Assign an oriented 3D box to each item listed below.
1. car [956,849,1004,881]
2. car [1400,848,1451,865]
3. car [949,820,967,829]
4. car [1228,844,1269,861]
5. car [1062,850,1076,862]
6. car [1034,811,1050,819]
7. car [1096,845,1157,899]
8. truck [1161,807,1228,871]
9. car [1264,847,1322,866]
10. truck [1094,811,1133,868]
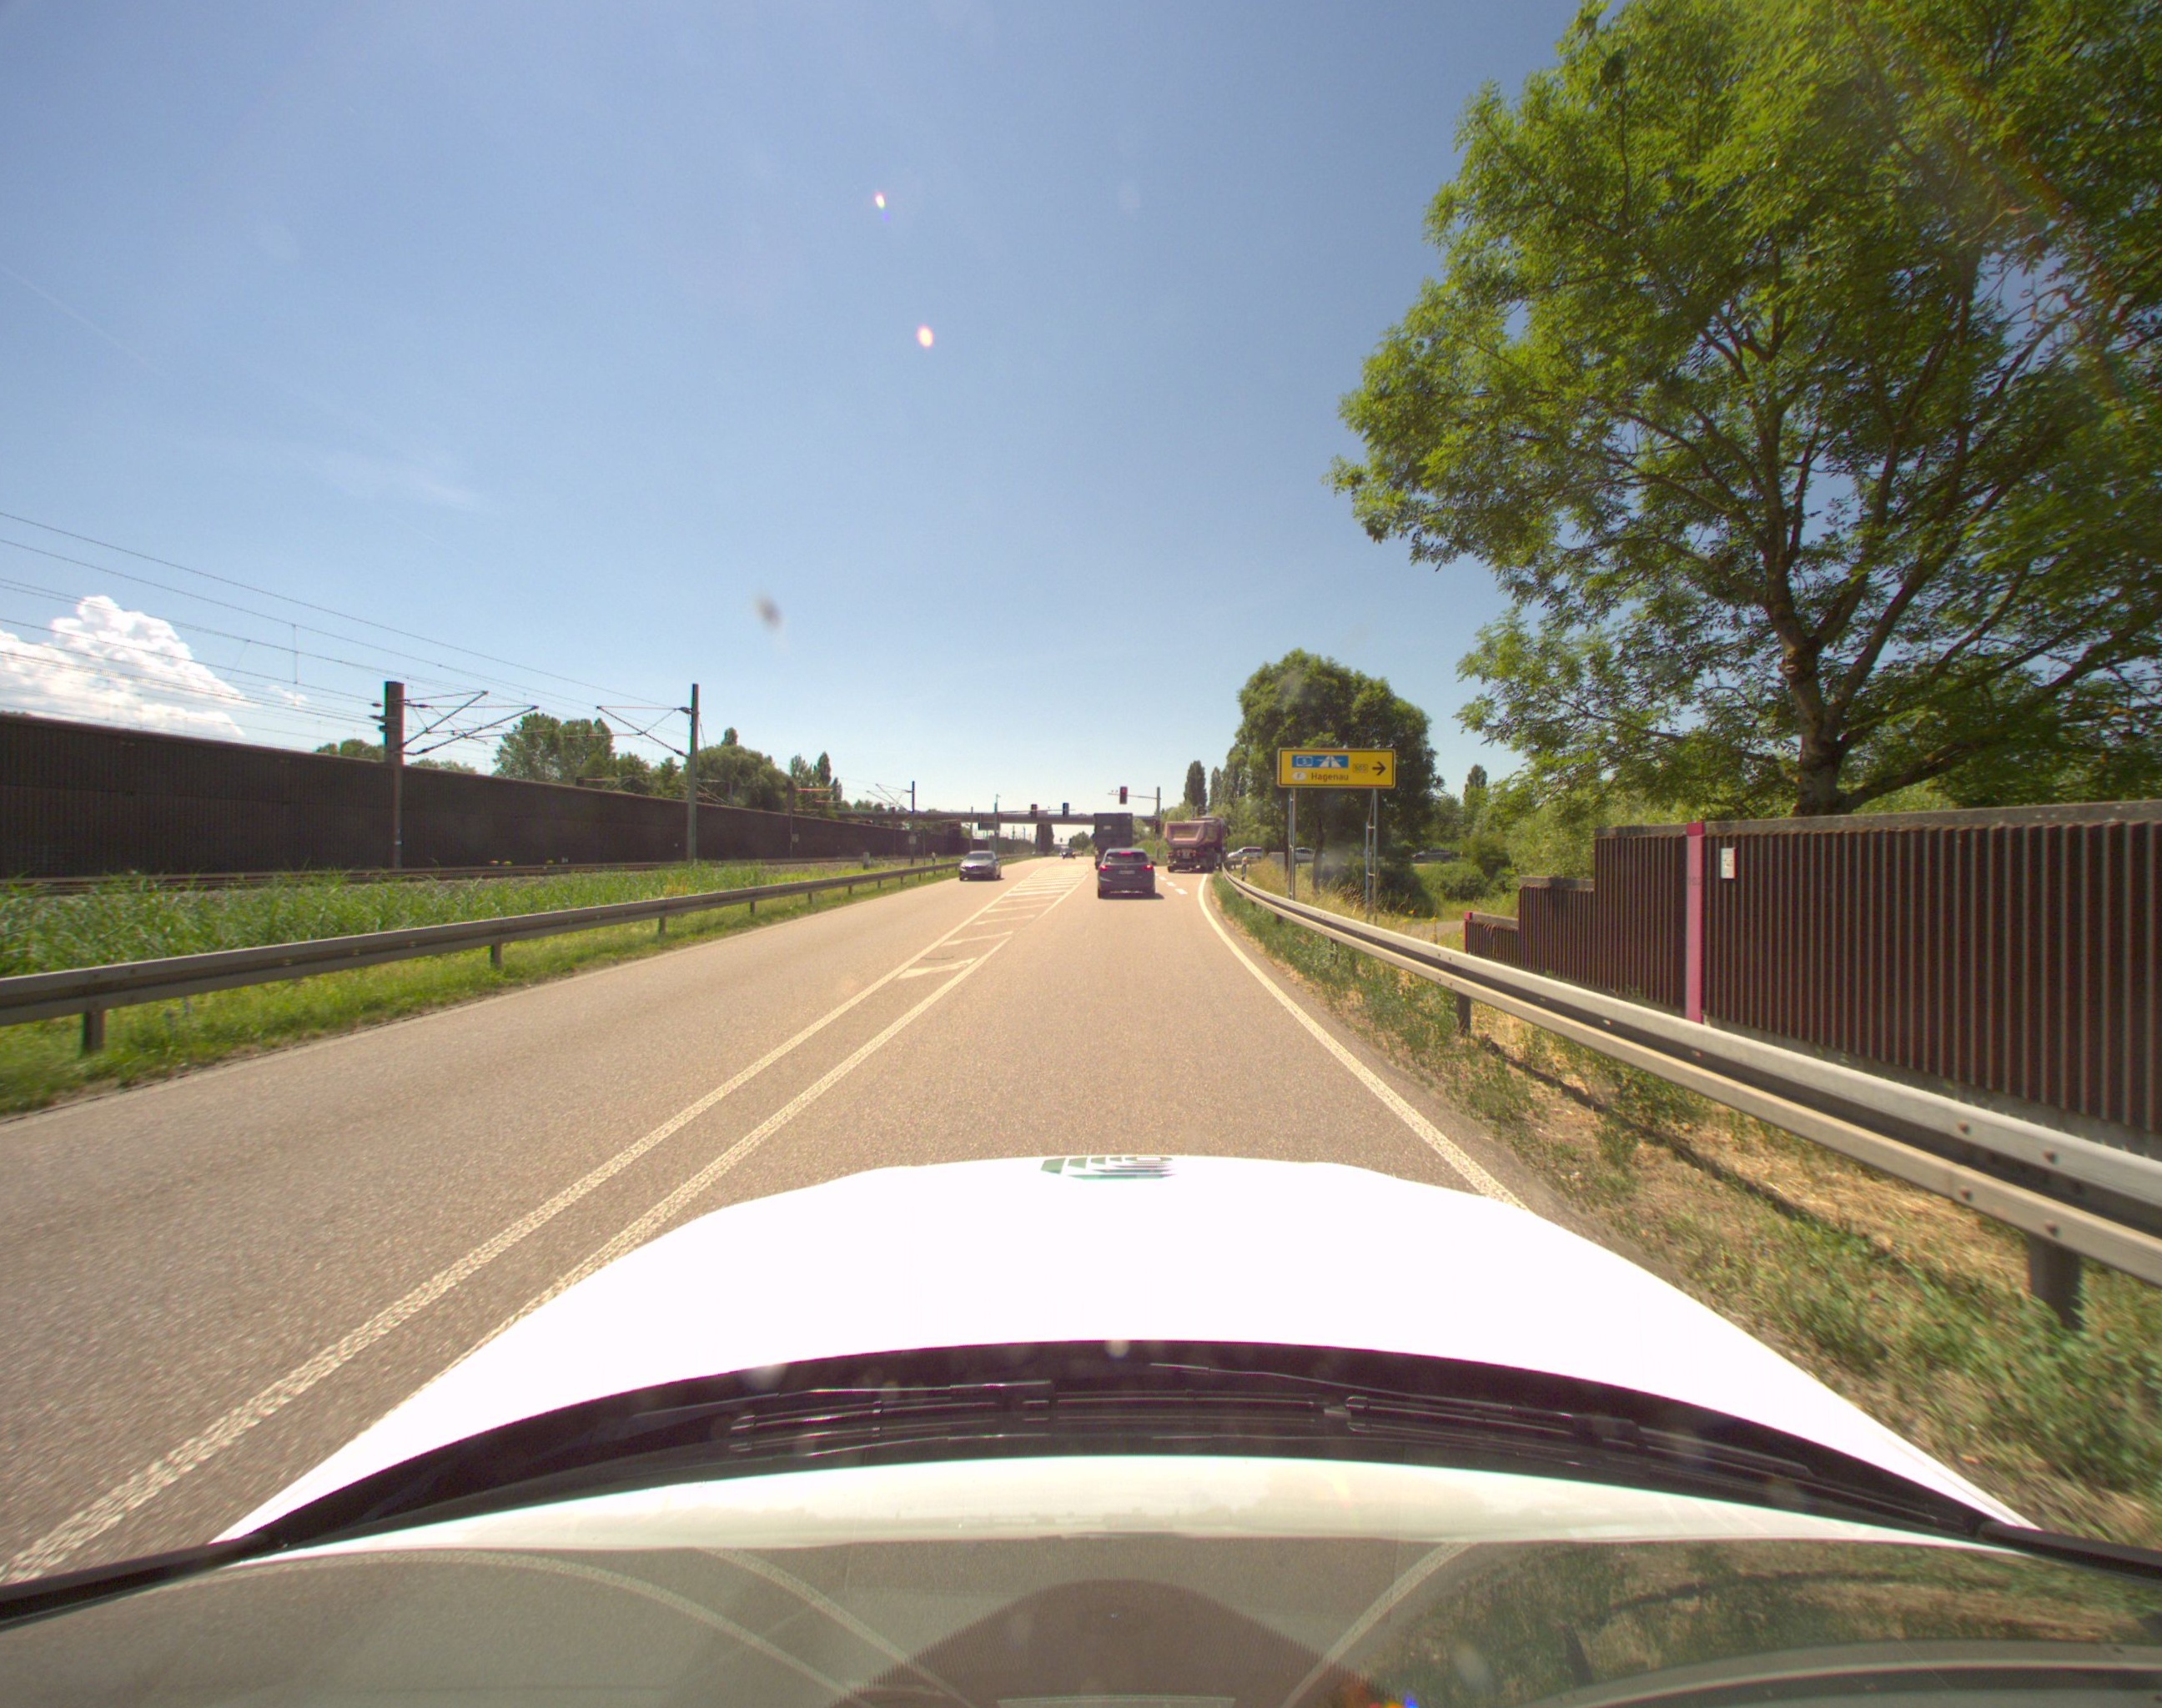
[{"bbox_3d":[-5.067,0.510,41.417,1.859,1.485,4.886,0,0,-1],"label":"car"},{"bbox_3d":[33.569,0.232,79.481,4.209,1.631,1.934,0,0,1],"label":"car"},{"bbox_3d":[-30.350,-7.283,201.169,3.974,2.013,2.000,0,0,0],"label":"car"},{"bbox_3d":[16.375,-0.166,79.833,3.694,1.631,1.734,0,0,0],"label":"car"},{"bbox_3d":[-1.809,0.299,124.090,1.920,1.767,4.600,1,1,2],"label":"car"},{"bbox_3d":[-10.100,-10.260,212.299,3.974,2.013,2.000,0,0,0],"label":"car"},{"bbox_3d":[1.460,0.526,26.739,1.837,1.623,4.228,0,0,2],"label":"car"},{"bbox_3d":[7.804,-0.899,54.544,2.812,3.821,11.935,0,0,16],"label":"truck"},{"bbox_3d":[18.504,0.210,71.180,4.635,1.631,1.933,0,0,-1],"label":"car"},{"bbox_3d":[2.236,-0.984,58.293,2.580,3.737,9.577,0,1,1],"label":"truck"}]
